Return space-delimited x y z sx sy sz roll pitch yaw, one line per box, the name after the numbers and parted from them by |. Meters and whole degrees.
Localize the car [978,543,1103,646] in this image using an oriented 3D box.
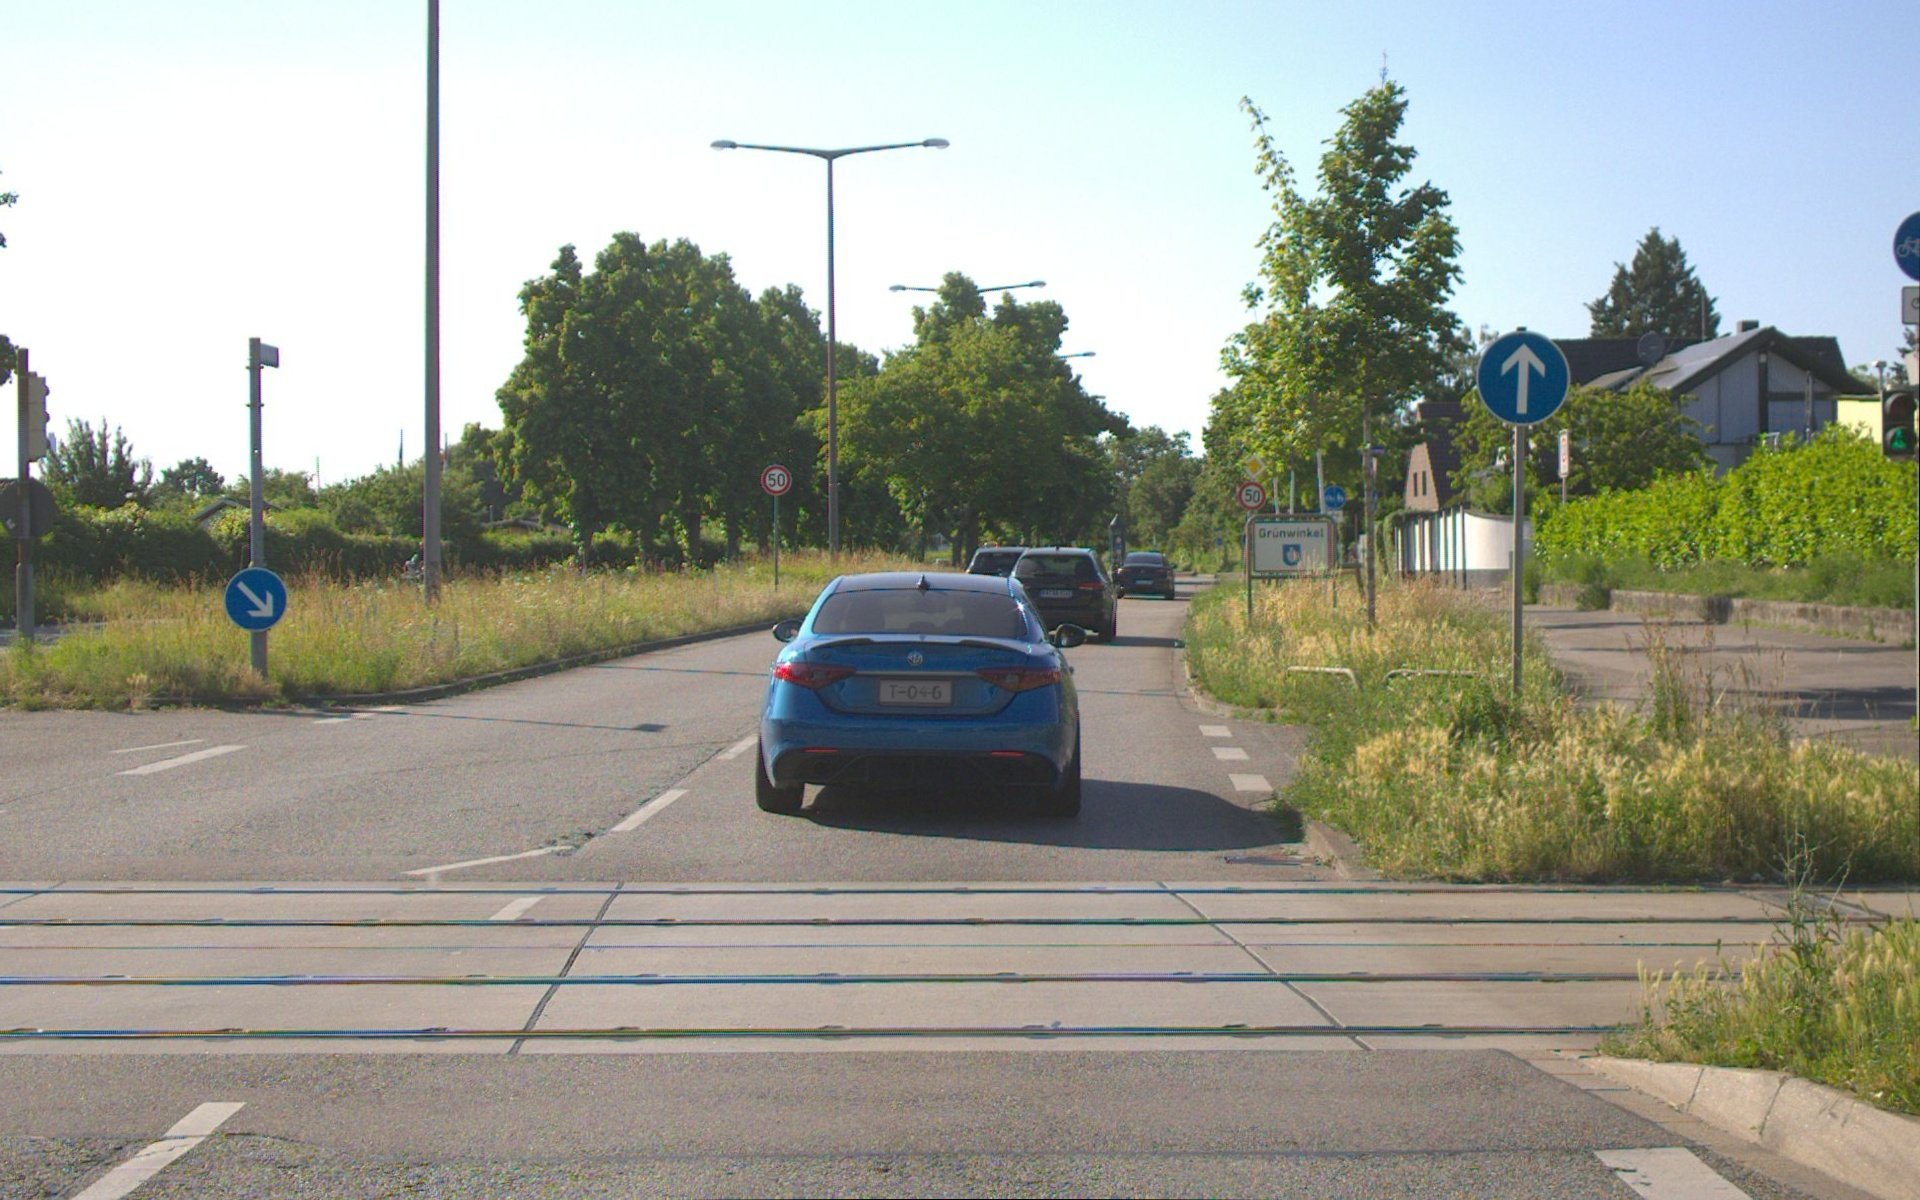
1.262 -0.116 55.138 1.915 1.574 4.182 0 1 1 | car

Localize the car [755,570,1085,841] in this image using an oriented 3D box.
-0.333 0.572 21.273 1.838 1.469 4.185 0 1 -3 | car

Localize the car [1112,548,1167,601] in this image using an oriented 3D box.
5.592 -0.801 106.725 1.661 1.574 3.808 1 1 4 | car

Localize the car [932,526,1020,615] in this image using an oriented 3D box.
0.396 -0.707 80.415 1.793 2.007 4.000 0 1 4 | car
